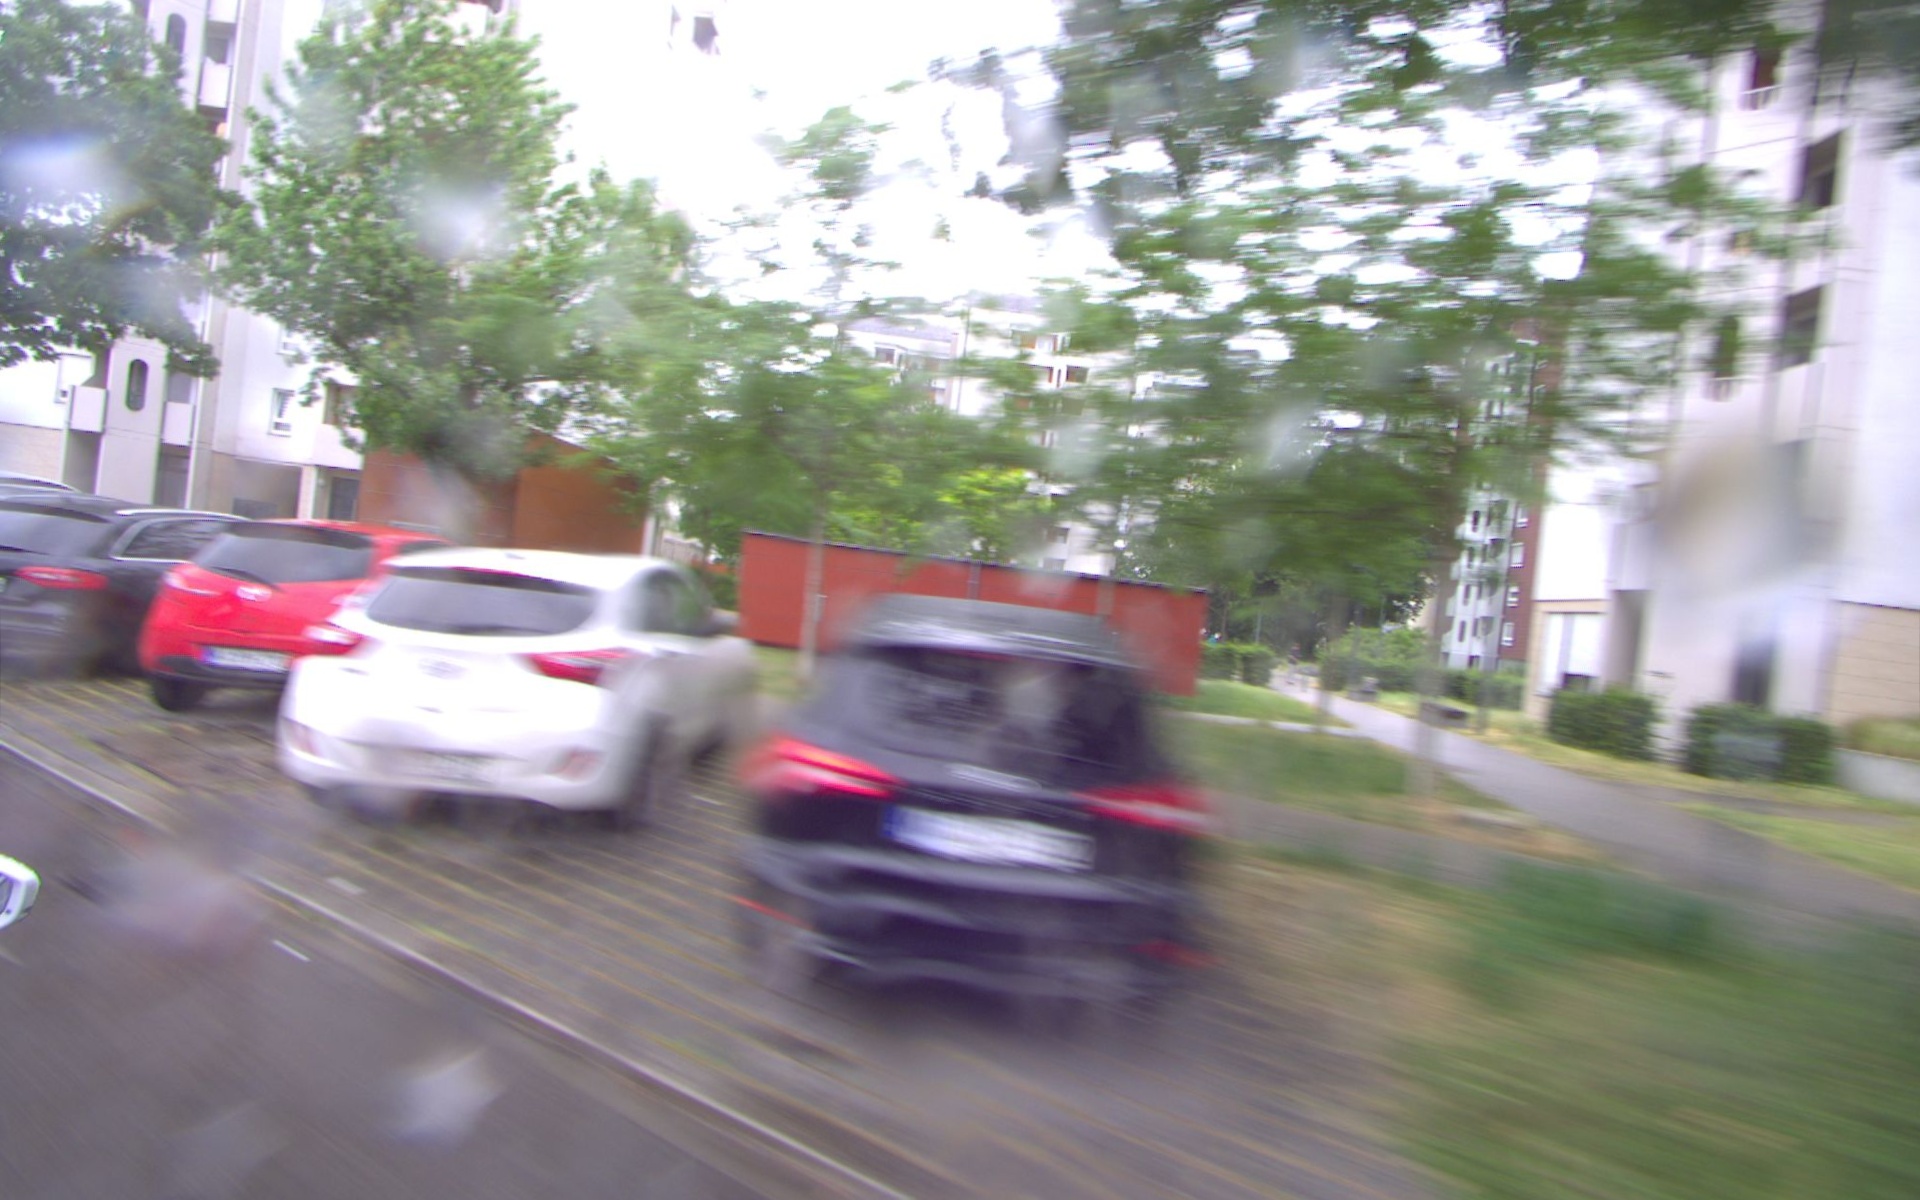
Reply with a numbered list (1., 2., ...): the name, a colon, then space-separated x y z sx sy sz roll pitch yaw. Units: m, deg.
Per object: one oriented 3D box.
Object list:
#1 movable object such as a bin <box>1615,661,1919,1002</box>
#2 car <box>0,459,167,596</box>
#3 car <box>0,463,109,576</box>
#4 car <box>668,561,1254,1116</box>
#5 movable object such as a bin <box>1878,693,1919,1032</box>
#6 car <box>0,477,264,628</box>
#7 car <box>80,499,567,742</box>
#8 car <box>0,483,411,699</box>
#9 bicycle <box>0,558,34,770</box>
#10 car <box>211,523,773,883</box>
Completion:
1. movable object such as a bin: 4.550 1.136 5.248 1.167 1.439 1.365 7 -1 -10
2. car: -13.071 -1.042 13.407 1.781 1.694 4.450 6 2 -7
3. car: -15.465 -1.302 15.270 1.654 1.694 4.178 7 2 -5
4. car: 0.015 0.656 5.291 1.653 1.563 4.455 5 2 0
5. movable object such as a bin: 4.827 1.193 3.886 1.167 1.439 1.365 7 -1 -10
6. car: -10.331 -0.603 11.457 1.736 1.429 4.454 7 2 -2
7. car: -5.146 0.040 9.000 1.778 1.447 4.451 7 2 -6
8. car: -7.231 -0.191 9.468 1.654 1.447 4.454 7 2 -1
9. bicycle: -5.981 0.241 5.573 1.914 1.106 0.537 6 -1 27
10. car: -2.588 0.396 6.895 1.787 1.485 4.454 7 2 -2
